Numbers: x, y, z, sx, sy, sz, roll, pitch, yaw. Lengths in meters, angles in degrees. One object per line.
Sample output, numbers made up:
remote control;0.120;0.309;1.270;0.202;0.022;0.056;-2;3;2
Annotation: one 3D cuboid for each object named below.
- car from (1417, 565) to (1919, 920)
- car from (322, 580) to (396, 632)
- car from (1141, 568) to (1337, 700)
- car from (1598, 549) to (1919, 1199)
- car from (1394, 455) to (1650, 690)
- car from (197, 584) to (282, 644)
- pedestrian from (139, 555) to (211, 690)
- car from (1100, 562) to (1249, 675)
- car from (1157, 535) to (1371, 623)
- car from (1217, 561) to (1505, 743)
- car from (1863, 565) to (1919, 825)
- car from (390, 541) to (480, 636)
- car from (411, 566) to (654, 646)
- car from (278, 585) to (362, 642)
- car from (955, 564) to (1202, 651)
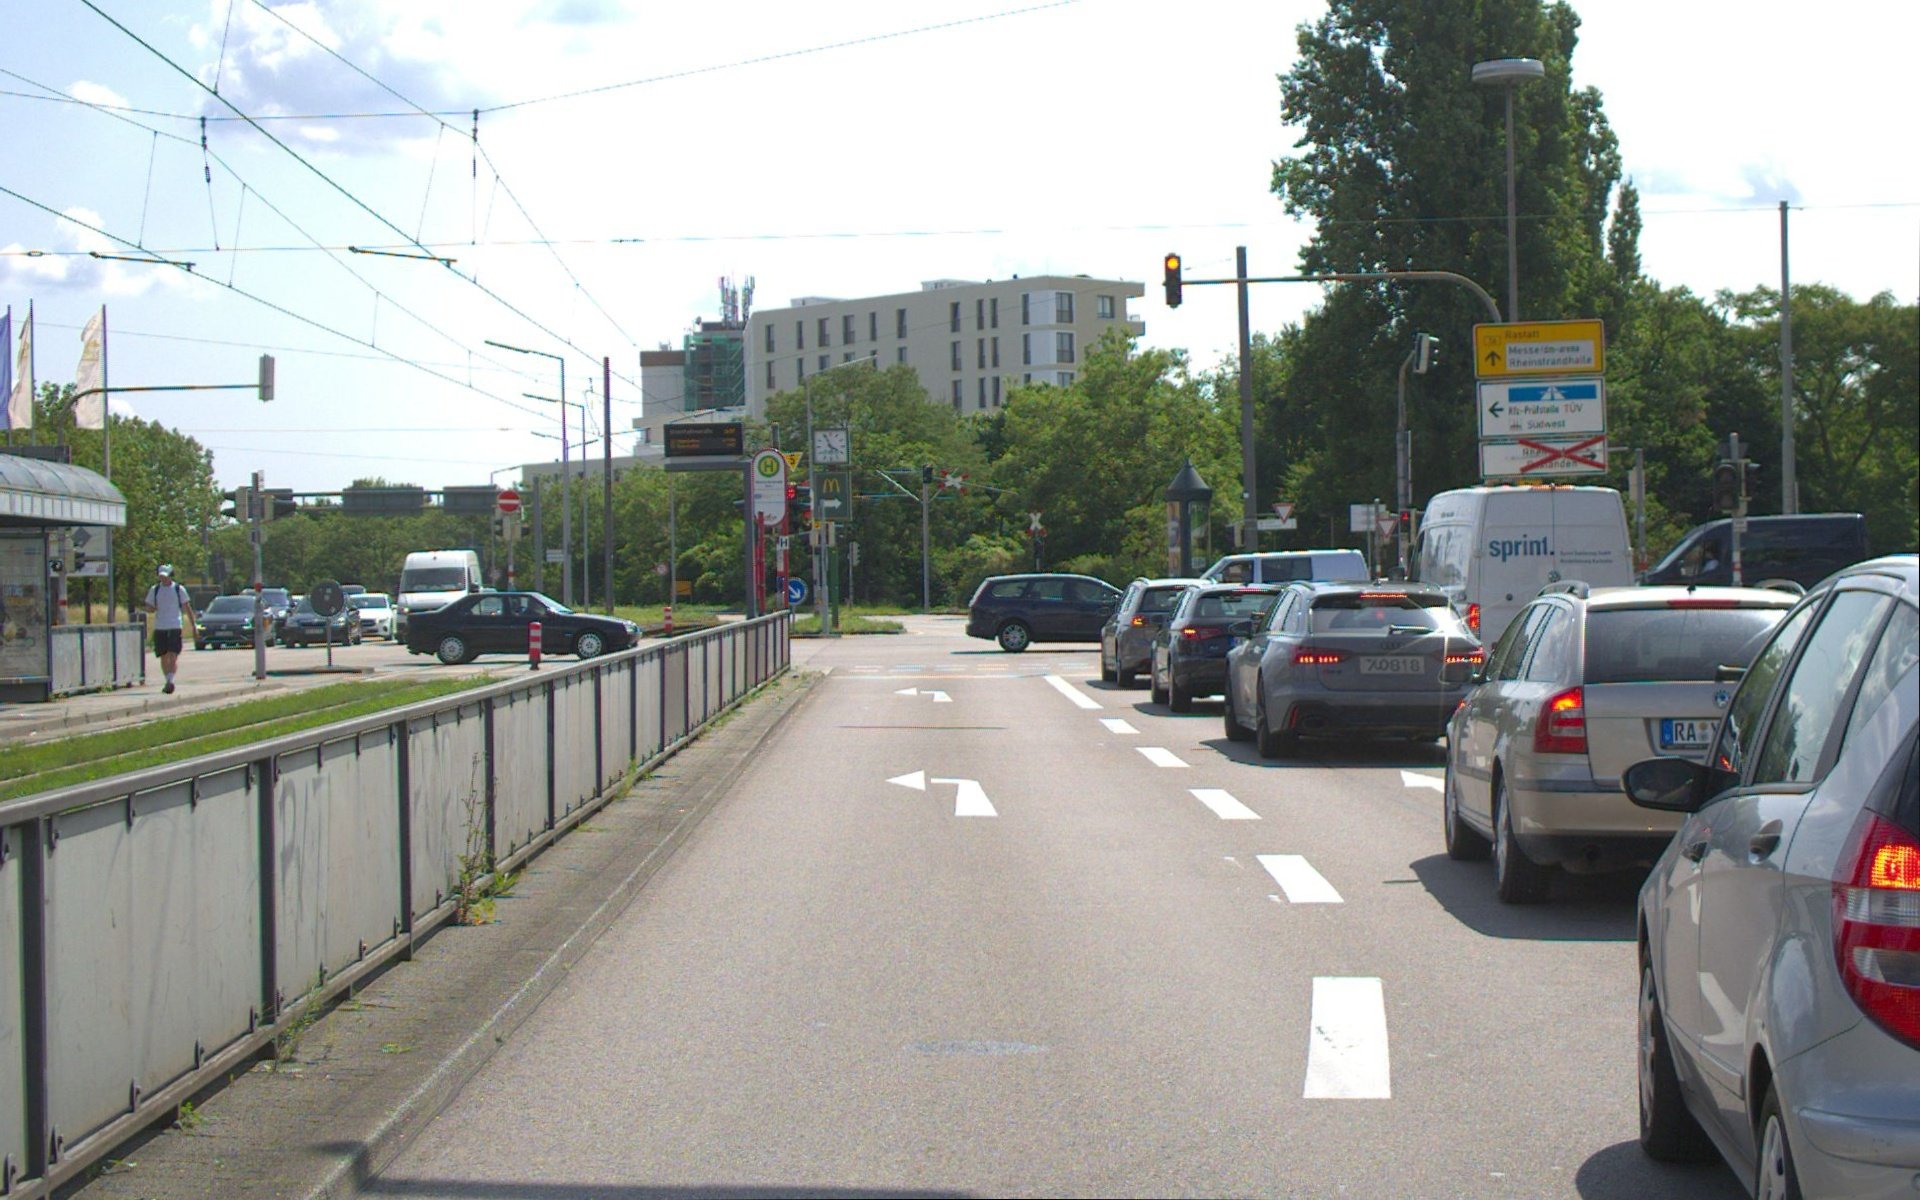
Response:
car;3.317;0.583;16.880;1.739;1.487;4.629;0;1;3
car;-18.120;0.162;103.776;1.802;1.536;4.165;0;0;-4
car;3.134;0.350;39.369;1.869;1.415;4.100;0;1;-1
car;2.473;0.671;7.595;1.787;1.571;4.093;-1;1;6
car;6.518;-0.335;40.468;2.041;2.549;5.231;-1;1;-1
car;-20.410;0.372;97.536;1.862;1.645;4.001;0;0;-5
pedestrian;-10.624;0.298;46.534;0.807;1.789;0.709;-1;1;-3
car;2.938;0.221;47.843;1.744;1.494;4.380;0;1;-1
car;6.879;-0.478;78.237;4.676;1.930;2.000;0;1;0
car;3.381;0.388;29.854;1.887;1.443;4.828;0;1;-1
car;6.421;0.554;18.709;1.854;1.487;4.536;0;1;0
car;-14.702;-0.334;96.565;1.993;2.597;4.879;0;0;-3
car;-8.272;0.107;66.837;4.459;1.509;2.000;0;0;0
car;-17.760;0.358;95.505;1.896;1.536;3.730;0;0;-4
car;2.331;0.138;66.702;4.675;1.543;2.000;-1;1;5
